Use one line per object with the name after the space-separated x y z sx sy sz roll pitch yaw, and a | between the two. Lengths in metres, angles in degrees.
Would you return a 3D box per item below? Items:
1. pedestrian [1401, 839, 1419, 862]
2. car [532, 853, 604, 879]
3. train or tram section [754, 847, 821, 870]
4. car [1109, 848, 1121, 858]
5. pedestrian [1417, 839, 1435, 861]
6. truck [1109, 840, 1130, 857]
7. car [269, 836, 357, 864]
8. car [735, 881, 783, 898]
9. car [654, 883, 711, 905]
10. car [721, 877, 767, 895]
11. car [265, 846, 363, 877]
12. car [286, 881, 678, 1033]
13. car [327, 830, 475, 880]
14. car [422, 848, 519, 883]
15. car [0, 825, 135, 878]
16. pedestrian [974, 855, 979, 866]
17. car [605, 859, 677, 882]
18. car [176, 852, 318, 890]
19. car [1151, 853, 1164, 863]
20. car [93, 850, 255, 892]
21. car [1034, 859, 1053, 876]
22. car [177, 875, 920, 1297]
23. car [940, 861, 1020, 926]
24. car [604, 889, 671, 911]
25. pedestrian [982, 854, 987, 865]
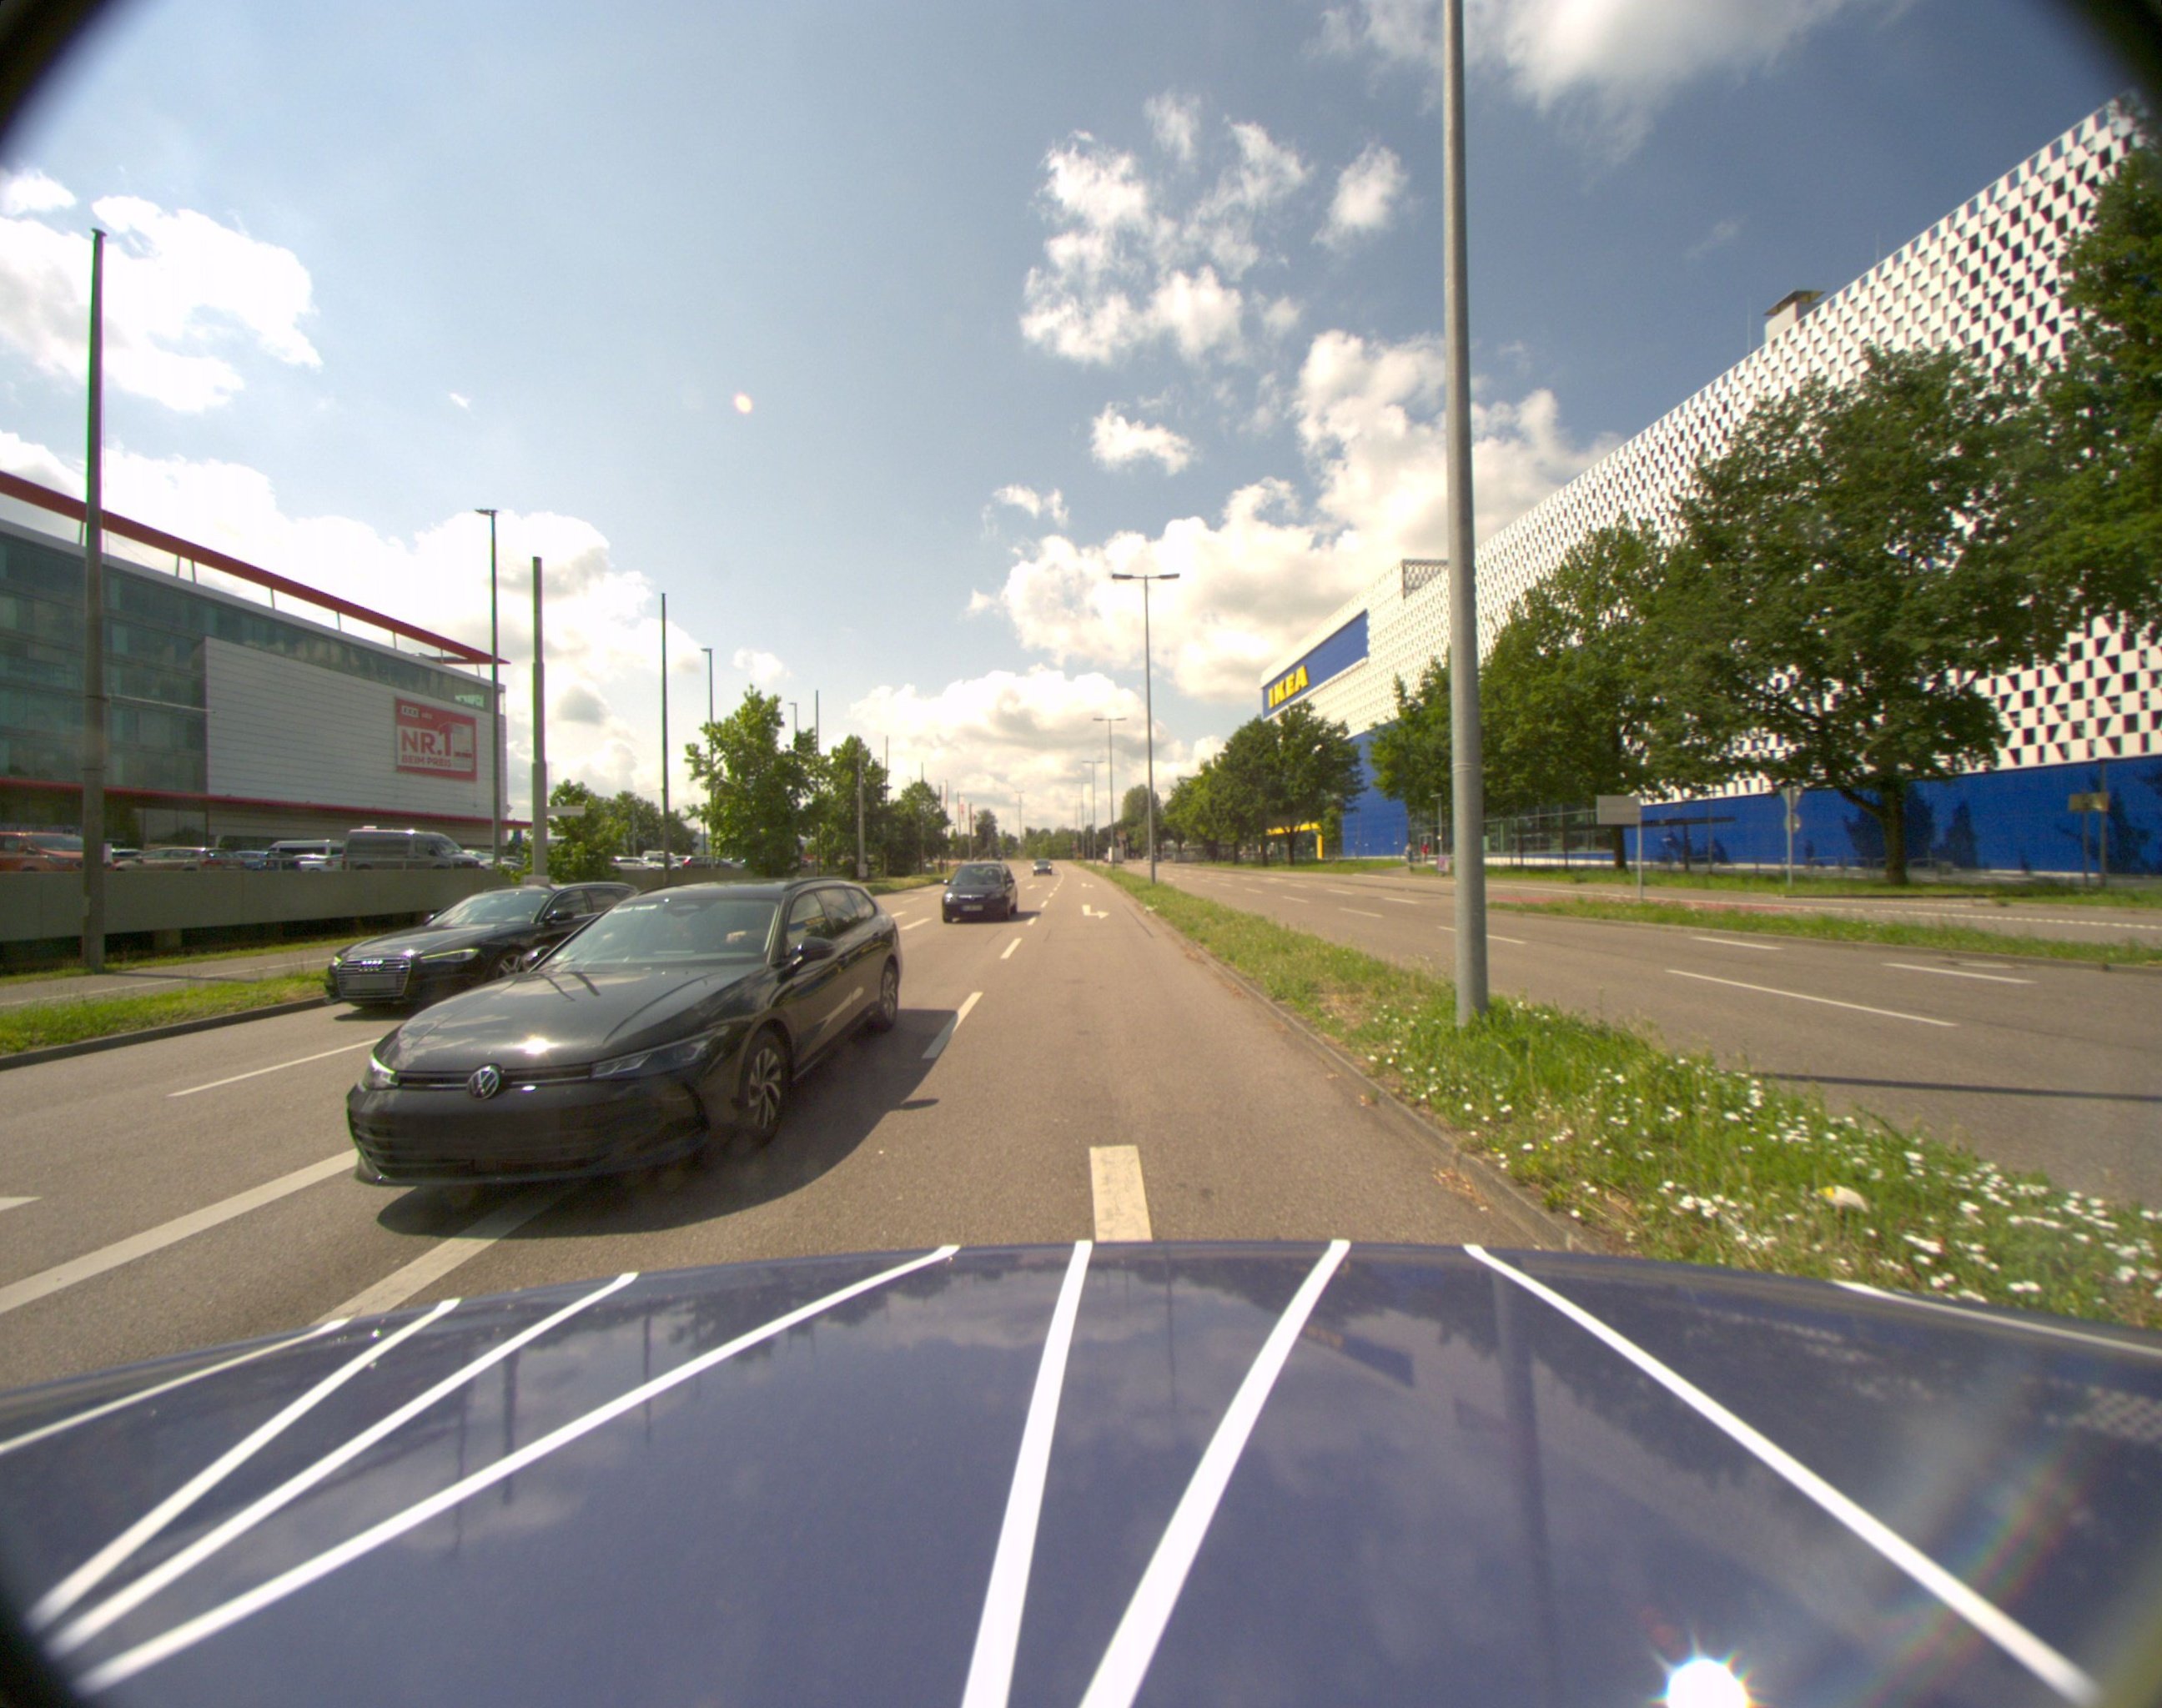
26.056 -0.286 60.184 0.854 1.718 1.164 -2 1 2 | pedestrian
-40.204 0.914 59.652 4.421 1.754 1.559 -3 1 -3 | car
-64.889 0.957 168.451 13.099 4.535 3.731 -3 1 -2 | train or tram section
6.255 -0.143 139.498 1.941 1.674 3.999 -3 1 0 | car
27.244 -0.331 60.021 0.854 1.718 1.164 -2 1 2 | pedestrian
6.572 -0.885 130.912 2.973 2.736 5.782 -3 1 -2 | truck
-53.248 -0.283 52.754 3.997 1.740 1.916 -3 1 -1 | car
-35.087 3.905 82.901 4.420 1.596 1.954 -2 0 -1 | car
-37.623 3.802 71.773 4.421 1.754 1.559 -3 1 -3 | car
-38.238 3.640 86.274 4.421 1.754 1.559 -3 1 -3 | car
-47.980 0.449 47.585 3.997 1.740 1.916 -3 1 -1 | car
-7.935 1.235 10.830 1.778 1.469 4.679 -2 0 1 | car
-35.177 0.027 39.426 5.796 2.270 1.749 -3 1 -3 | car
-34.629 0.615 43.173 3.997 1.783 1.749 -3 1 1 | car
-37.783 -0.078 27.757 4.184 1.740 1.917 -2 1 4 | car
-18.238 1.103 132.447 0.705 1.803 0.544 -3 2 -33 | pedestrian
-34.654 1.260 59.888 4.420 1.596 1.954 -2 0 -1 | car
-38.748 0.770 35.398 4.420 1.596 1.955 -2 0 1 | car
14.698 0.718 145.736 1.941 1.674 3.999 -3 1 0 | car
-38.604 0.706 32.421 4.420 1.596 1.954 -2 0 -1 | car
-3.444 1.244 70.403 1.606 1.521 4.269 -1 0 -1 | car
-2.672 0.996 5.637 1.813 1.469 5.203 -2 0 0 | car
-2.629 0.984 20.620 1.606 1.521 4.269 -1 0 -1 | car
-37.684 3.891 64.622 4.421 1.596 1.954 -2 0 -2 | car
-16.891 0.937 132.661 0.527 1.803 0.676 -3 1 -28 | pedestrian
